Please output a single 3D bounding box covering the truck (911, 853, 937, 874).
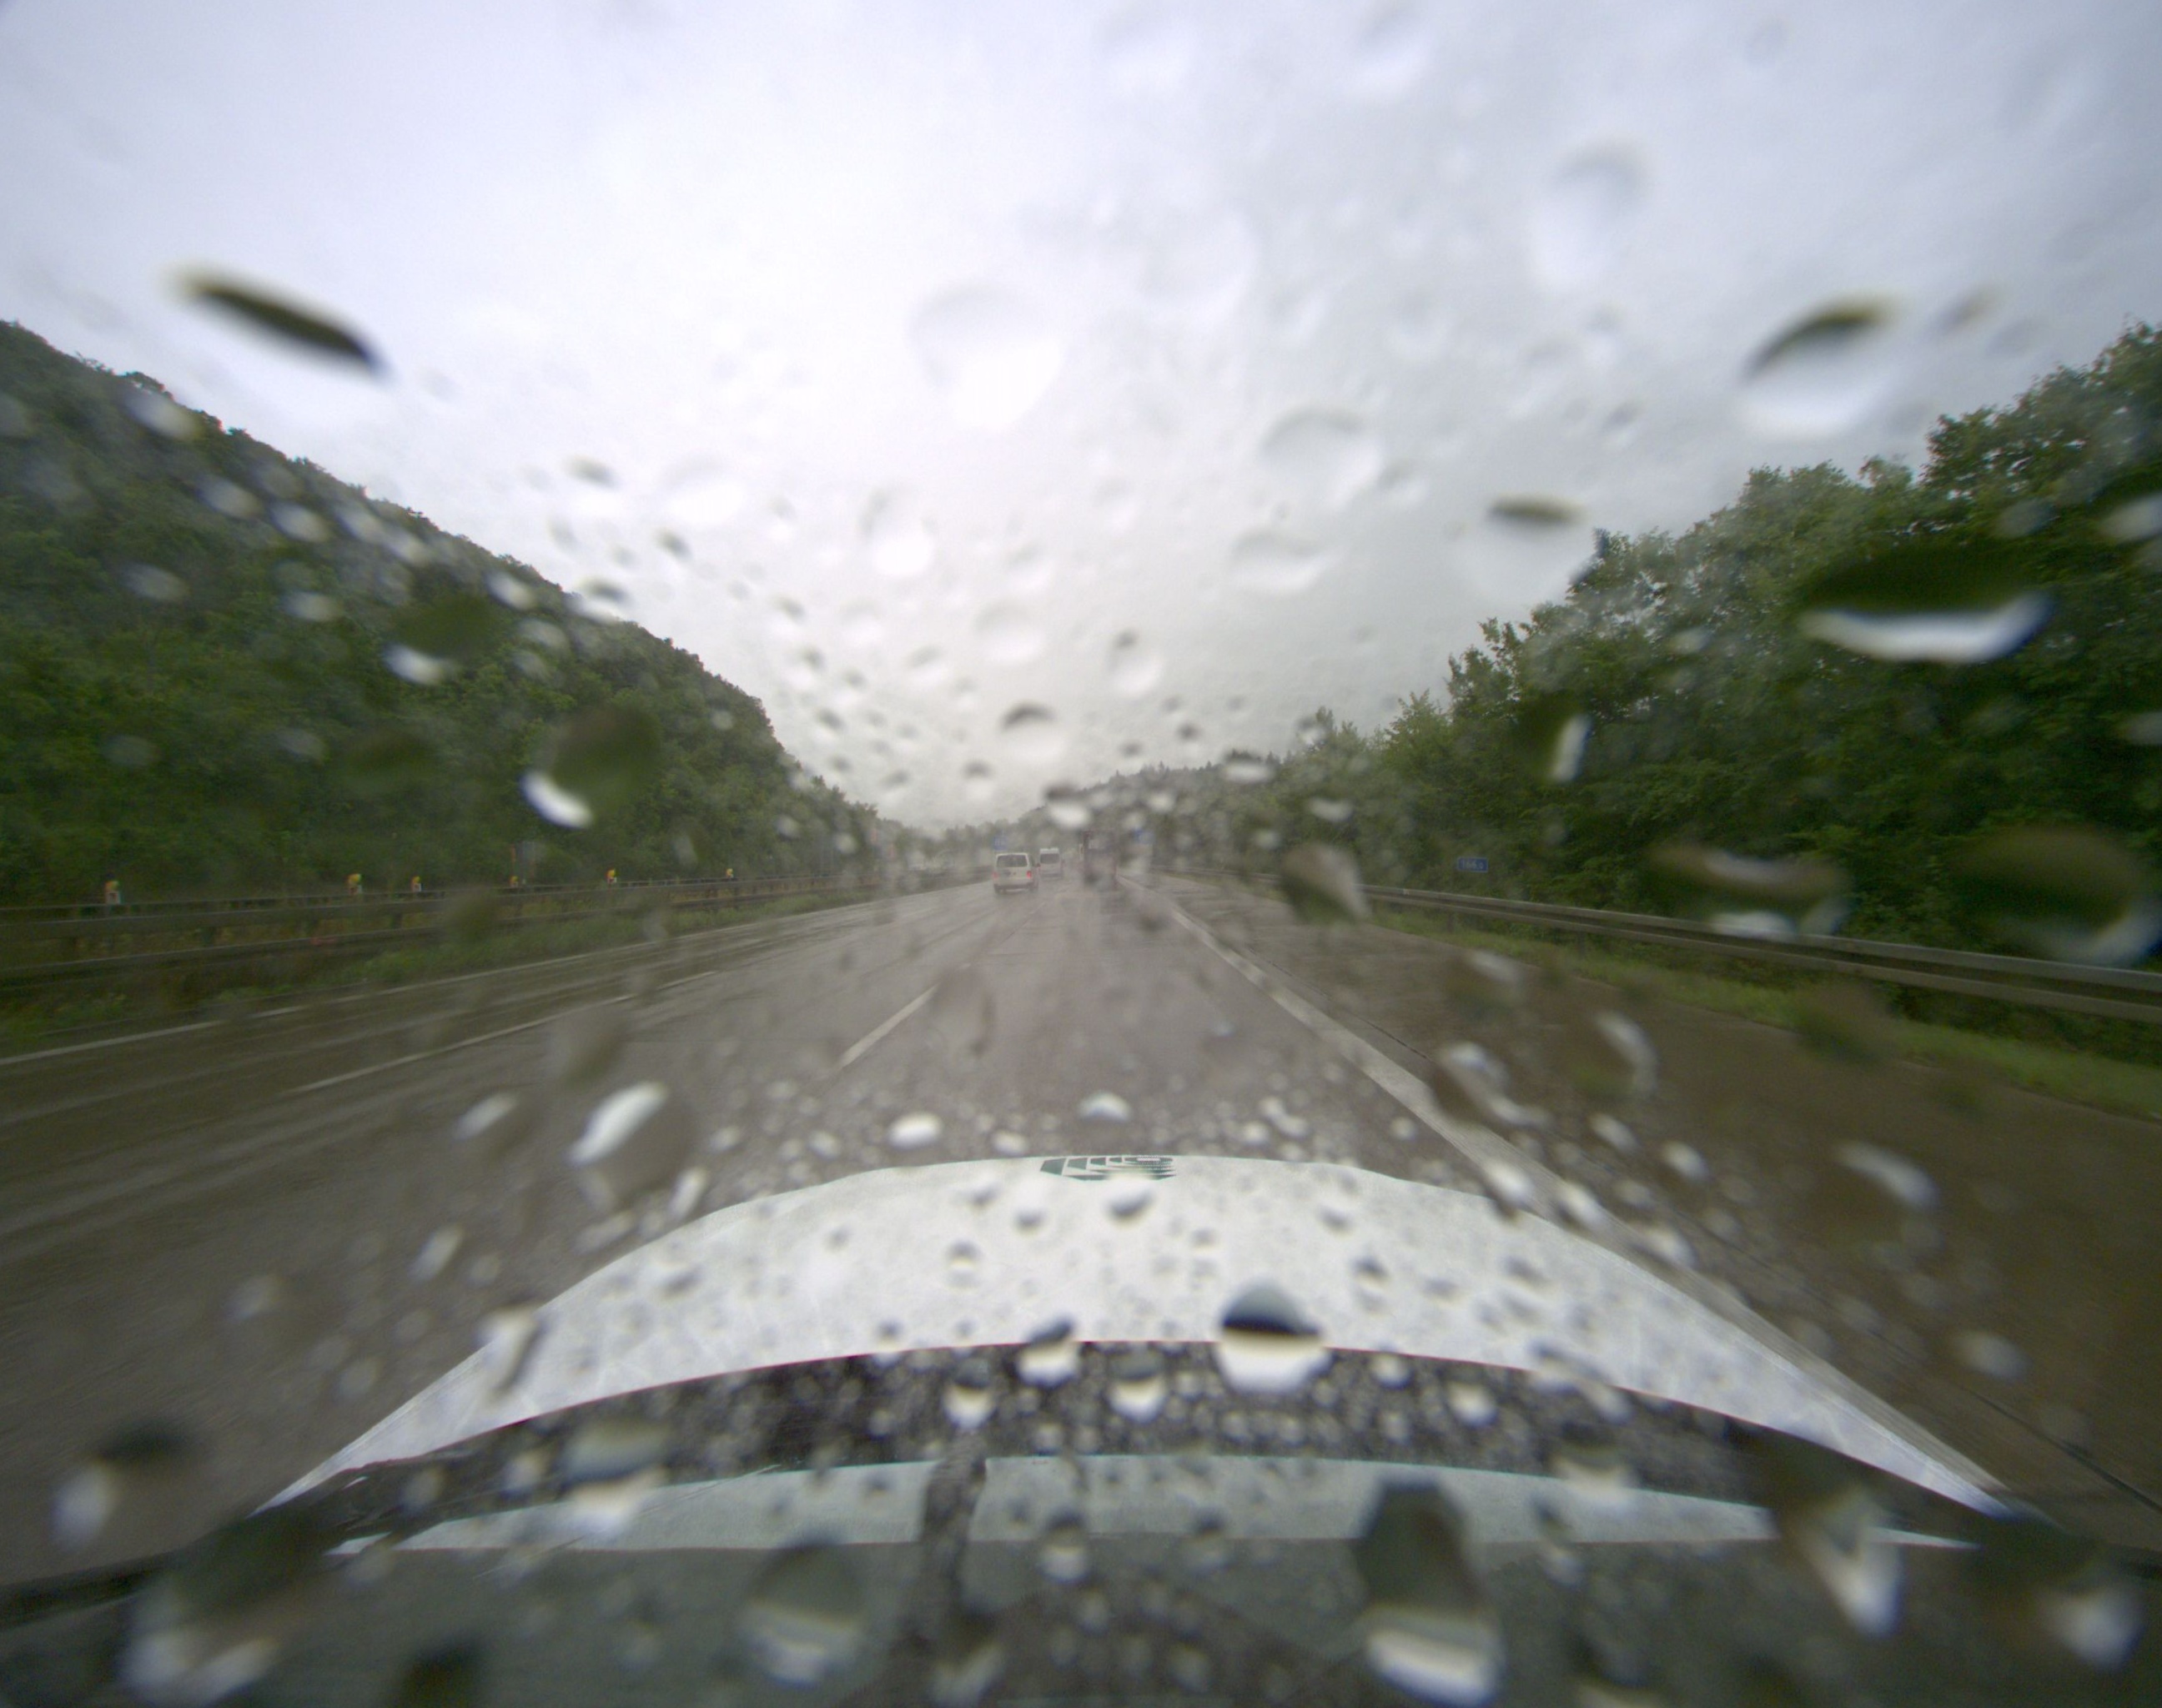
[{"bbox_3d":[-23.940,1.464,124.536,2.289,3.019,7.924,-1,0,1],"label":"truck"}]

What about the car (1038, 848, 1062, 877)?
[{"bbox_3d":[-2.605,0.688,67.649,1.896,2.334,5.243,0,0,-4],"label":"car"}]

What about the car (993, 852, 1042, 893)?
[{"bbox_3d":[-3.049,0.862,40.169,1.893,1.894,5.044,0,-1,1],"label":"car"}]

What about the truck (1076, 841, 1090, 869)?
[{"bbox_3d":[0.250,0.155,117.031,1.987,3.806,6.731,-1,0,-1],"label":"truck"}]

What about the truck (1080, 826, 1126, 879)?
[{"bbox_3d":[1.785,-0.245,68.400,3.373,3.968,8.668,-3,1,1],"label":"truck"}]

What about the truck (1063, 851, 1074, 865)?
[{"bbox_3d":[-2.856,0.923,182.869,1.991,3.170,6.719,-1,0,-6],"label":"truck"}]

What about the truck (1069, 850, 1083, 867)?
[{"bbox_3d":[-0.927,0.876,151.376,1.991,3.170,6.719,-1,0,-6],"label":"truck"}]
